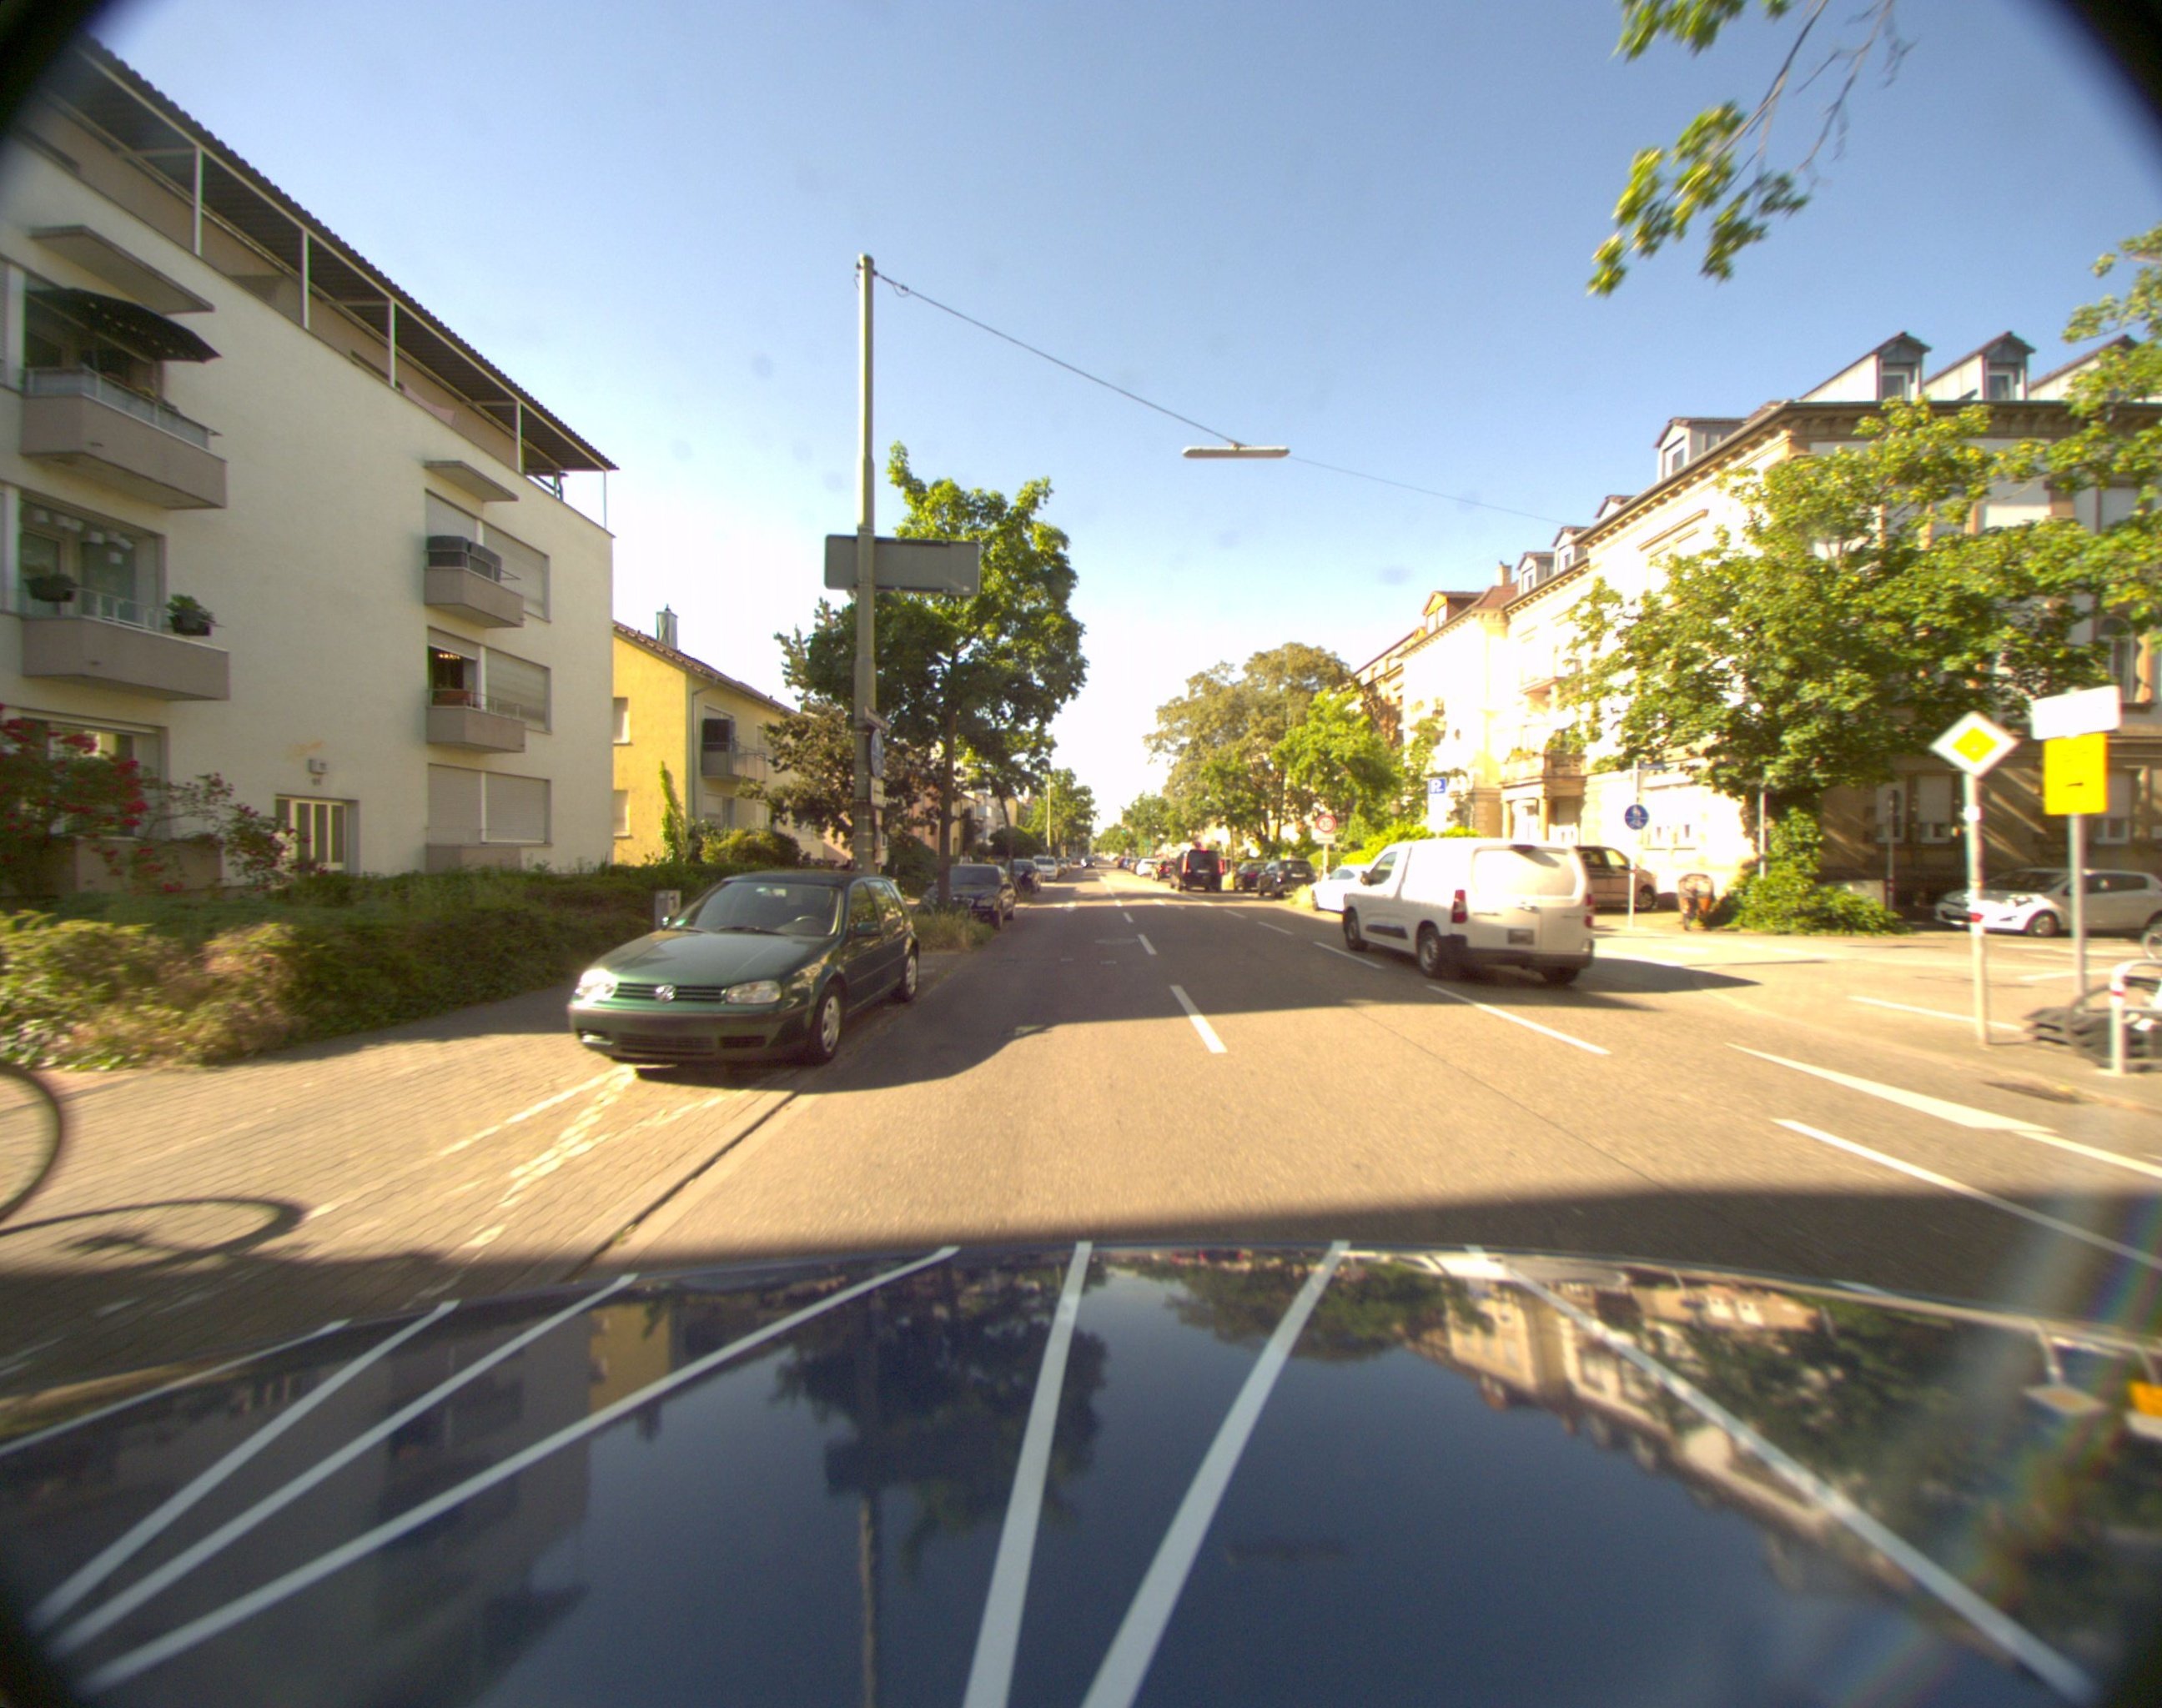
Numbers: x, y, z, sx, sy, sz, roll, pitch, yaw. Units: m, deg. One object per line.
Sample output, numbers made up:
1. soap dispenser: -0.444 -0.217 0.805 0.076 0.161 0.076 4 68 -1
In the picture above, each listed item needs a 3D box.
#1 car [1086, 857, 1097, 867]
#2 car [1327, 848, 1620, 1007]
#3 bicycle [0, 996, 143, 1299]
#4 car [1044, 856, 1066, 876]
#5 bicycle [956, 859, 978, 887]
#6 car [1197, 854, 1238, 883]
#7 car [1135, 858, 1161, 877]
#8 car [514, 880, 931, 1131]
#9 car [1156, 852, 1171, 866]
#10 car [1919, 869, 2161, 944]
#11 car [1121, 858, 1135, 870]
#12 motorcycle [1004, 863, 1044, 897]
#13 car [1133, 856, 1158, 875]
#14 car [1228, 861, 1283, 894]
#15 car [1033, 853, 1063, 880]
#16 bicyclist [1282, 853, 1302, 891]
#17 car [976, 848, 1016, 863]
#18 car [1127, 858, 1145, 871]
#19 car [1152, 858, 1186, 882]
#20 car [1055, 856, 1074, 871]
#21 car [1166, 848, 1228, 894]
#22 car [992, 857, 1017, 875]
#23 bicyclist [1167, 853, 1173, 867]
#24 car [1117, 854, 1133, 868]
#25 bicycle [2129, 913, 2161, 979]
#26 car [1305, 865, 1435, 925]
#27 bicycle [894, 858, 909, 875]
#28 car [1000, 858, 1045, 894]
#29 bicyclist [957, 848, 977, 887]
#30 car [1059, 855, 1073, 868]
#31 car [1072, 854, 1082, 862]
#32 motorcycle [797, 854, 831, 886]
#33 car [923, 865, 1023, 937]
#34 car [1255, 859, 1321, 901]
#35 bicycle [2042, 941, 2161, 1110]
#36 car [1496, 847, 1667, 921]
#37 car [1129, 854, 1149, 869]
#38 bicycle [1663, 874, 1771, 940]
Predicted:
1. car: 1.510 1.130 108.251 1.654 1.348 4.304 0 0 1
2. car: 5.187 0.831 10.887 1.820 1.733 4.493 2 0 0
3. bicycle: -4.450 1.158 2.253 0.684 1.063 2.127 1 0 1
4. car: -1.936 0.898 56.957 1.536 1.441 3.717 1 0 -1
5. bicycle: -5.279 0.875 35.193 0.699 1.239 1.822 1 0 1
6. car: 8.161 0.823 45.656 1.629 1.579 4.348 -2 0 0
7. car: 5.394 1.076 61.362 1.737 1.404 4.192 2 0 1
8. car: -2.689 1.026 6.884 1.696 1.419 4.147 1 0 2
9. car: 8.936 0.520 82.488 1.404 1.480 3.686 -1 0 2
10. car: 21.706 1.142 17.093 3.792 1.480 1.646 1 2 1
11. car: 6.496 1.343 106.109 1.726 1.607 4.300 3 0 2
12. motorcycle: -2.339 1.027 30.675 0.701 1.264 2.426 2 0 -27
13. car: 5.844 0.986 68.853 1.841 1.604 4.400 2 0 0
14. car: 8.190 1.058 35.944 1.641 1.408 4.090 -2 0 1
15. car: -2.124 0.761 49.754 1.773 1.649 4.340 1 0 -1
16. bicyclist: 10.266 0.858 37.008 0.660 1.813 1.055 1 1 1
17. car: -9.256 0.181 82.806 3.997 1.432 1.831 3 0 1
18. car: 6.150 1.165 85.324 1.639 1.395 3.735 2 0 -1
19. car: 5.774 1.002 50.035 1.696 1.445 4.173 2 0 0
20. car: -1.585 0.899 73.461 1.653 1.395 3.970 2 0 0
21. car: 5.344 0.756 35.703 2.021 1.940 5.178 2 0 0
22. car: -6.096 0.939 60.882 1.535 1.348 3.718 3 0 1
23. bicyclist: 11.068 0.784 94.717 0.610 1.744 0.691 0 1 1
24. car: 5.351 0.849 92.996 1.660 1.508 4.076 3 0 1
25. bicycle: 16.199 1.374 10.774 0.404 0.954 1.760 1 -1 7
26. car: 7.878 1.061 21.266 1.838 1.381 4.802 -1 0 0
27. bicycle: -11.123 0.755 47.138 0.456 0.987 1.743 2 1 1
28. car: -2.604 0.943 34.507 1.624 1.490 3.649 1 0 2
29. bicyclist: -5.284 0.608 35.216 0.726 1.783 1.015 1 0 1
30. car: -1.793 0.863 90.470 1.571 1.448 3.865 1 0 0
31. car: -0.718 0.797 150.935 1.822 1.541 4.304 0 0 1
32. motorcycle: -11.813 0.672 33.675 0.638 1.367 2.426 1 0 1
33. car: -2.415 0.999 17.989 1.590 1.387 4.454 2 0 1
34. car: 8.201 0.996 30.455 1.682 1.545 4.008 -1 0 2
35. bicycle: 8.194 1.219 5.226 1.932 1.128 0.463 -1 0 28
36. car: 14.017 0.772 21.299 4.333 1.868 1.876 -1 0 -22
37. car: 5.774 0.698 76.356 1.585 1.443 3.744 0 0 -2
38. bicycle: 14.303 1.136 17.055 3.181 1.255 0.949 -1 3 -33
